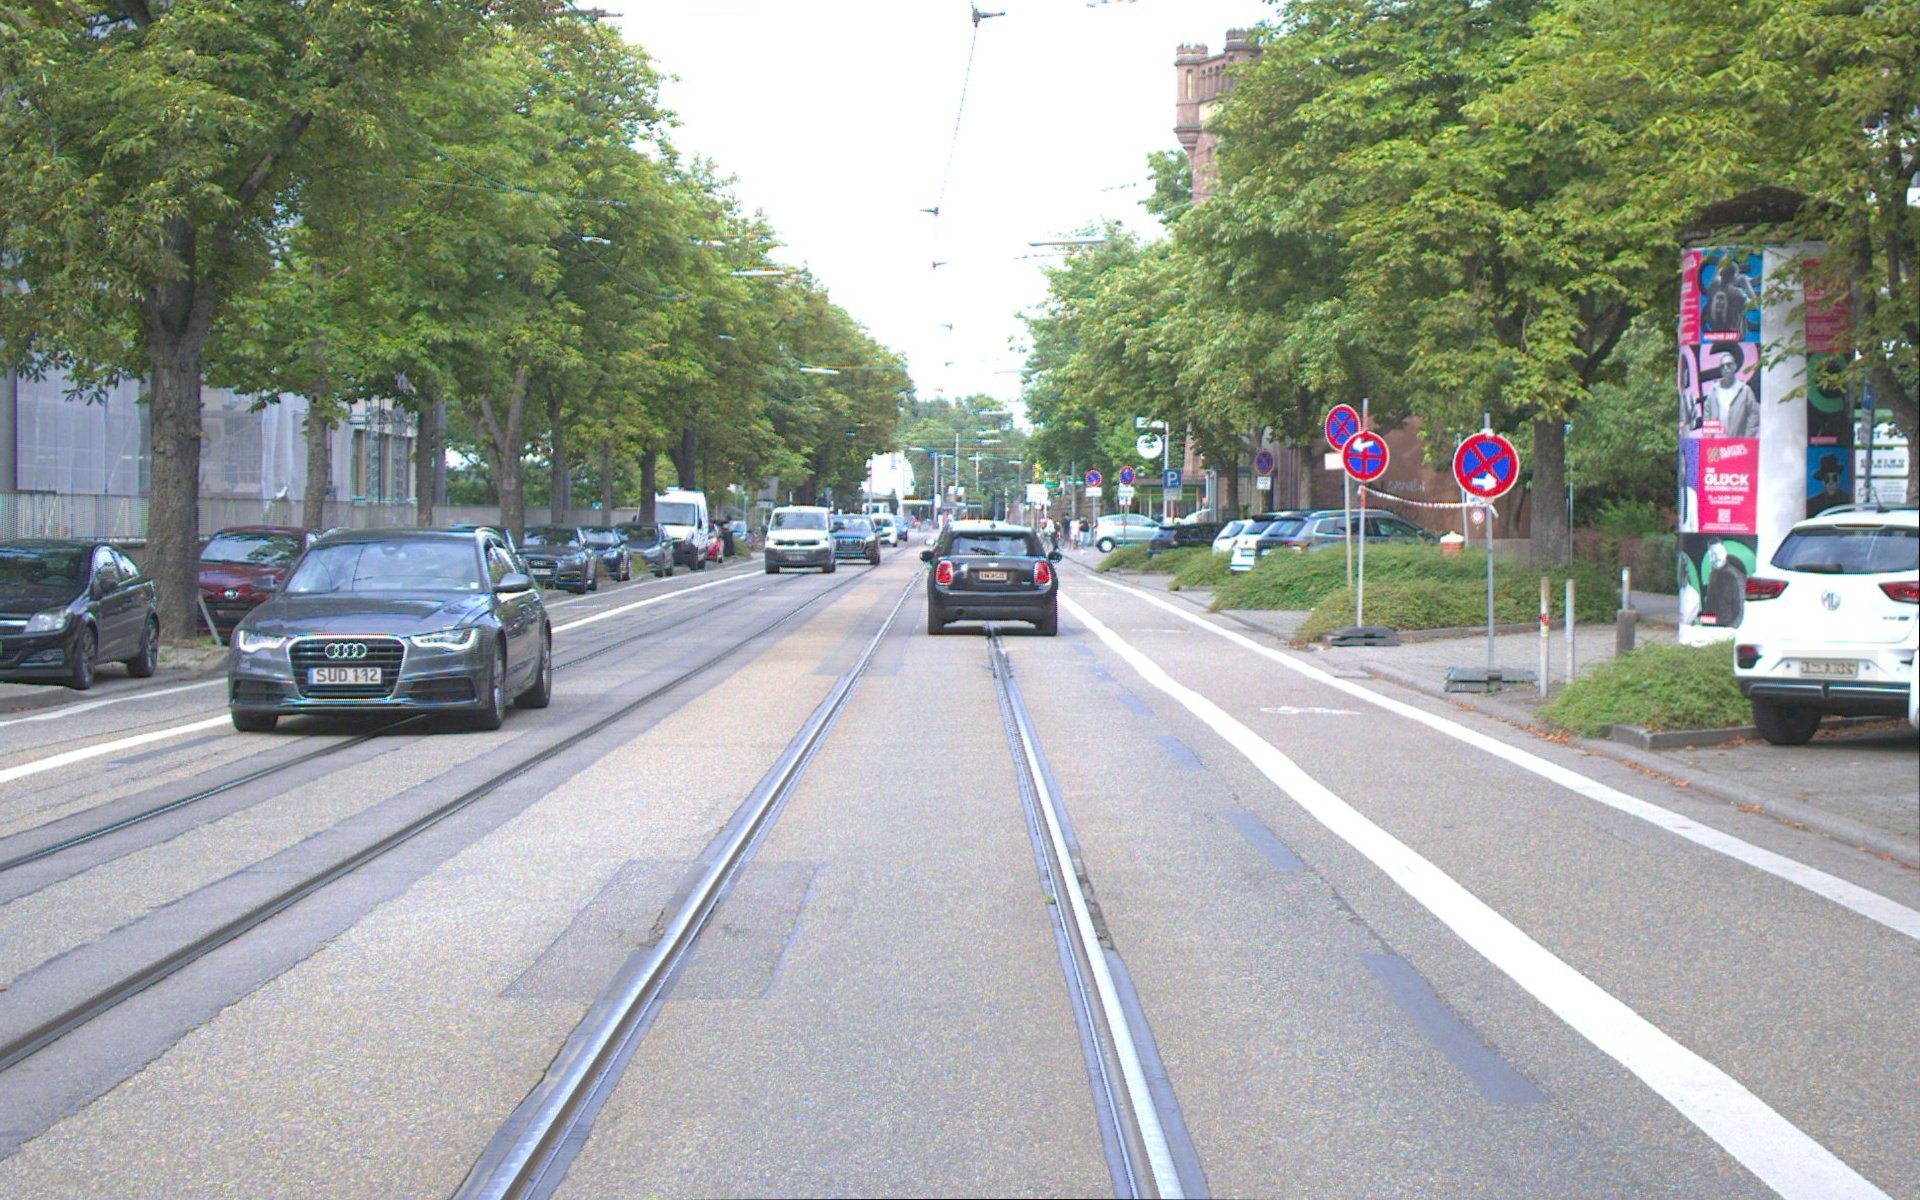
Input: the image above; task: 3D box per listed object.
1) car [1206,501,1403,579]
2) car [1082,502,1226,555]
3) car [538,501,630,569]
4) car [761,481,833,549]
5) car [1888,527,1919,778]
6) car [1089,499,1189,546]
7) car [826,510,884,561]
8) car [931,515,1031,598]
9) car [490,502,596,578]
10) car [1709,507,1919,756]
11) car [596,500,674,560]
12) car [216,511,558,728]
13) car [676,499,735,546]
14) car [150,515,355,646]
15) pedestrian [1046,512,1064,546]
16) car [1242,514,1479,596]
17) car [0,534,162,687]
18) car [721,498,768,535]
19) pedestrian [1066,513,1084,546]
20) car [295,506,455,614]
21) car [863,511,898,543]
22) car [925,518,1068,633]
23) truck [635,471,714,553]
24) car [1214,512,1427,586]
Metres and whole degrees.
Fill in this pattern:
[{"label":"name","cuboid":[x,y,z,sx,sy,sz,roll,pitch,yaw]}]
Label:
[{"label":"car","cuboid":[7.425,-1.301,74.356,3.986,1.622,1.885,1,2,-3]},{"label":"car","cuboid":[5.615,-2.082,99.989,3.986,1.503,1.885,1,2,-3]},{"label":"car","cuboid":[-9.013,-1.572,82.642,1.802,1.578,4.031,-1,1,-1]},{"label":"car","cuboid":[-4.447,-2.331,94.137,1.802,1.817,4.485,-1,1,-1]},{"label":"car","cuboid":[7.208,0.305,20.356,3.437,1.437,1.560,-1,2,-39]},{"label":"car","cuboid":[7.592,-3.307,146.152,3.986,1.904,2.000,1,2,-3]},{"label":"car","cuboid":[-3.448,-2.154,113.753,1.802,1.616,4.485,-1,1,-1]},{"label":"car","cuboid":[0.398,-0.856,65.511,1.793,1.465,4.000,2,2,0]},{"label":"car","cuboid":[-8.913,-1.300,73.685,1.802,1.578,4.031,-1,1,-1]},{"label":"car","cuboid":[6.852,0.168,23.455,3.437,1.567,1.560,-1,2,-39]},{"label":"car","cuboid":[-8.866,-1.922,94.044,1.802,1.578,4.031,-1,1,-1]},{"label":"car","cuboid":[-4.157,0.075,25.623,1.834,1.443,4.554,1,2,-1]},{"label":"car","cuboid":[-8.833,-2.694,119.622,1.802,1.578,4.031,-1,1,-1]},{"label":"car","cuboid":[-8.965,-0.287,43.857,1.802,1.578,4.031,-1,1,-1]},{"label":"pedestrian","cuboid":[4.627,-3.456,168.000,0.726,1.640,0.766,2,2,10]},{"label":"car","cuboid":[7.200,-0.822,62.059,3.986,1.420,1.885,1,2,-3]},{"label":"car","cuboid":[-9.124,0.061,33.469,1.802,1.369,4.031,-1,1,-1]},{"label":"car","cuboid":[-9.417,-3.668,150.359,1.802,1.578,4.031,-1,1,-1]},{"label":"pedestrian","cuboid":[5.707,-3.499,170.467,0.726,1.640,0.766,2,2,10]},{"label":"car","cuboid":[-8.925,-0.637,52.723,1.802,1.578,4.031,-1,1,-1]},{"label":"car","cuboid":[-4.190,-3.862,181.150,1.802,1.616,4.485,-1,1,-1]},{"label":"car","cuboid":[0.447,-0.358,45.929,1.793,1.418,4.000,1,2,-1]},{"label":"truck","cuboid":[-8.863,-2.744,107.114,2.071,2.462,4.899,-1,1,-1]},{"label":"car","cuboid":[7.198,-1.037,68.958,3.986,1.420,1.885,1,2,-3]}]
